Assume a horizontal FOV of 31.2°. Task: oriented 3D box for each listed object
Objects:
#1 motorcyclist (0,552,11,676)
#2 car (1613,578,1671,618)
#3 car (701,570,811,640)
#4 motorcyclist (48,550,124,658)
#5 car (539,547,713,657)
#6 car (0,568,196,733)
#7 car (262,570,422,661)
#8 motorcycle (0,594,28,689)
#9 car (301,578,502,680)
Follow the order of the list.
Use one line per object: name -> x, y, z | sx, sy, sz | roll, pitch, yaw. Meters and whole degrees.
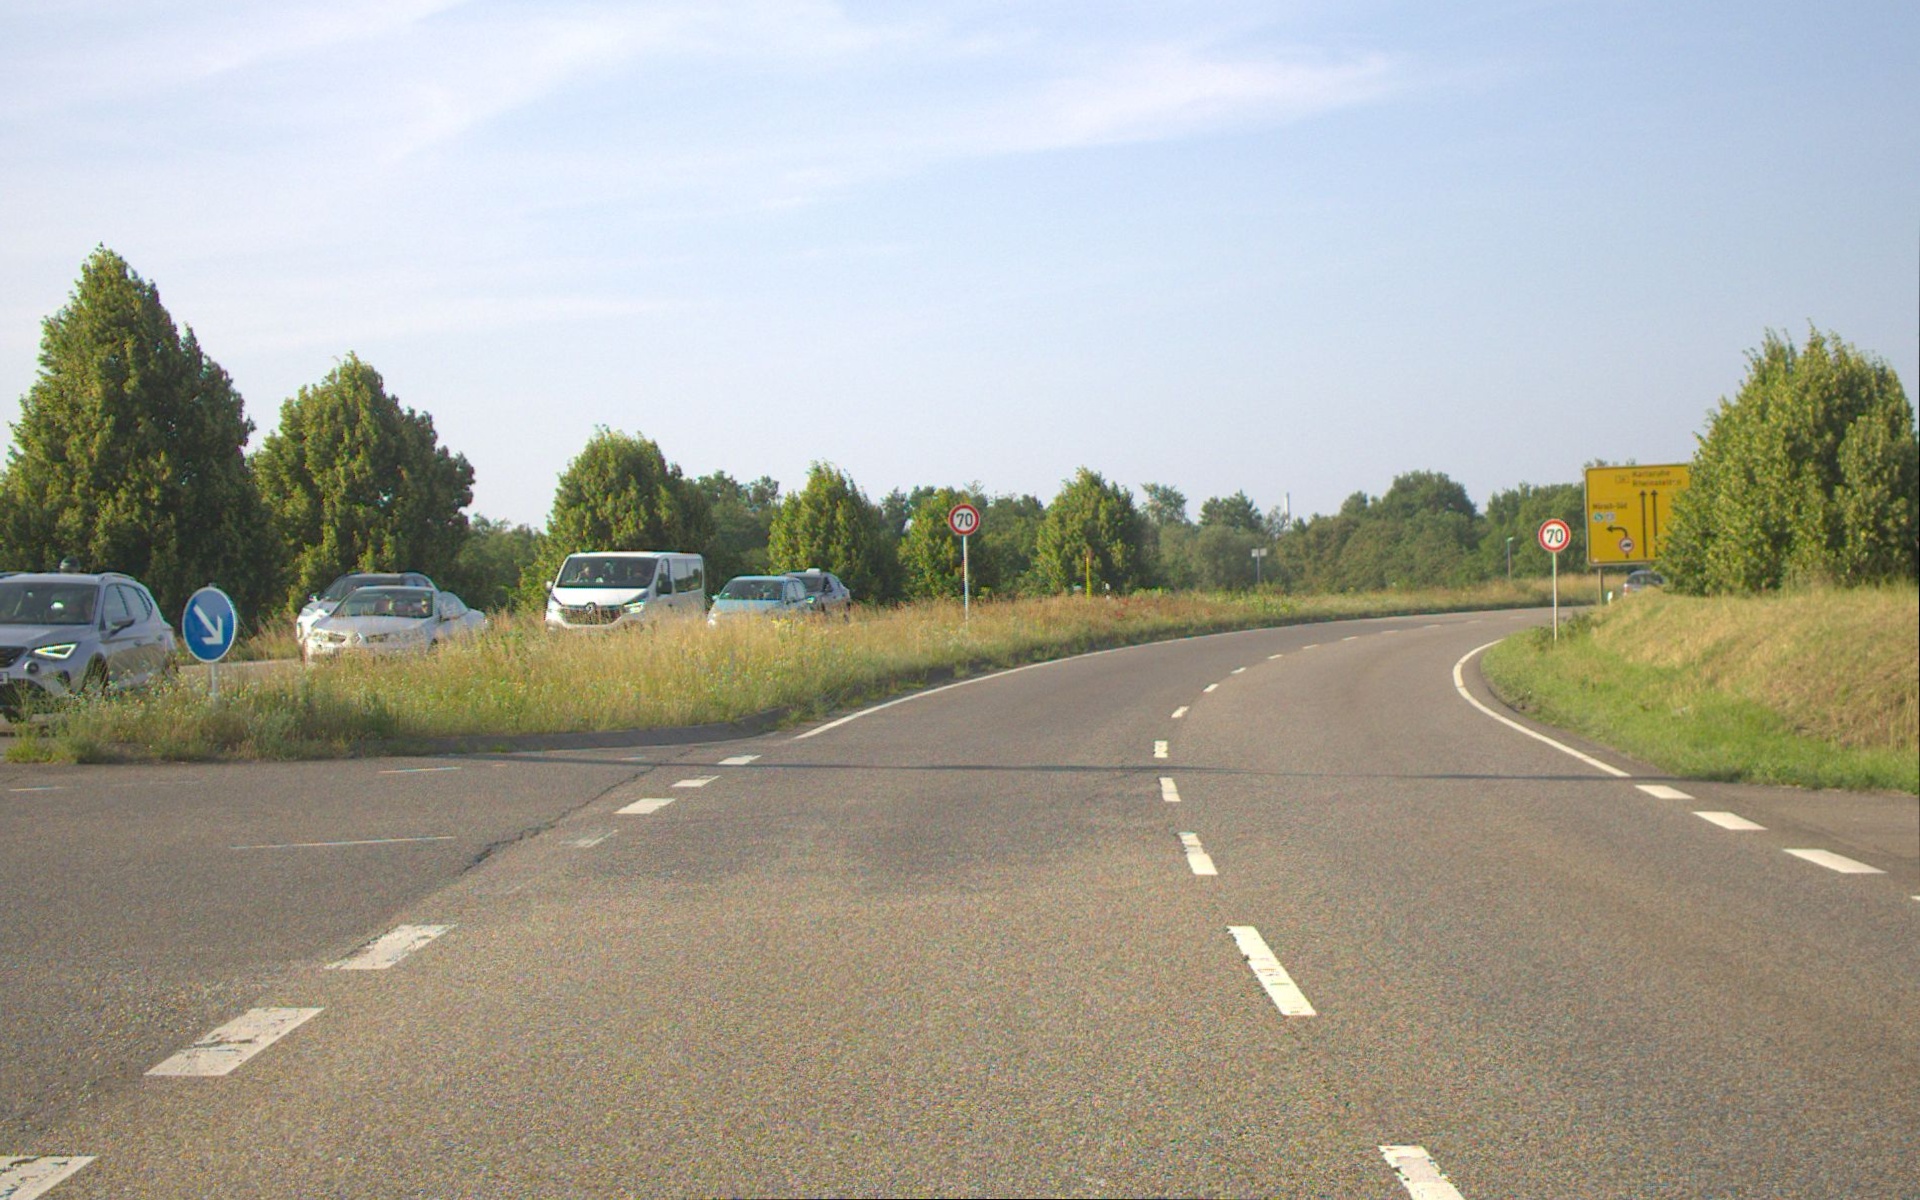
motorcyclist -> -11.961, 0.175, 41.557 | 0.697, 1.498, 0.896 | 0, 1, 2
car -> 26.492, -0.072, 133.498 | 1.743, 1.515, 3.829 | 0, 0, 18
car -> -4.250, 0.094, 72.182 | 1.679, 1.438, 3.751 | 0, 0, 7
motorcyclist -> -11.971, 0.049, 47.131 | 0.704, 1.460, 1.020 | 0, 0, 6
car -> -5.943, 0.019, 61.859 | 1.994, 1.897, 5.787 | 0, 0, 6
car -> -8.918, 0.454, 33.721 | 1.686, 1.518, 4.091 | 0, 0, 4
car -> -10.605, 0.247, 59.284 | 1.706, 1.520, 4.134 | 0, 0, 5
motorcycle -> -11.958, 0.506, 41.526 | 0.701, 1.134, 2.277 | 0, 0, 2
car -> -7.668, 0.372, 47.611 | 1.694, 1.348, 4.452 | 0, 0, 5
